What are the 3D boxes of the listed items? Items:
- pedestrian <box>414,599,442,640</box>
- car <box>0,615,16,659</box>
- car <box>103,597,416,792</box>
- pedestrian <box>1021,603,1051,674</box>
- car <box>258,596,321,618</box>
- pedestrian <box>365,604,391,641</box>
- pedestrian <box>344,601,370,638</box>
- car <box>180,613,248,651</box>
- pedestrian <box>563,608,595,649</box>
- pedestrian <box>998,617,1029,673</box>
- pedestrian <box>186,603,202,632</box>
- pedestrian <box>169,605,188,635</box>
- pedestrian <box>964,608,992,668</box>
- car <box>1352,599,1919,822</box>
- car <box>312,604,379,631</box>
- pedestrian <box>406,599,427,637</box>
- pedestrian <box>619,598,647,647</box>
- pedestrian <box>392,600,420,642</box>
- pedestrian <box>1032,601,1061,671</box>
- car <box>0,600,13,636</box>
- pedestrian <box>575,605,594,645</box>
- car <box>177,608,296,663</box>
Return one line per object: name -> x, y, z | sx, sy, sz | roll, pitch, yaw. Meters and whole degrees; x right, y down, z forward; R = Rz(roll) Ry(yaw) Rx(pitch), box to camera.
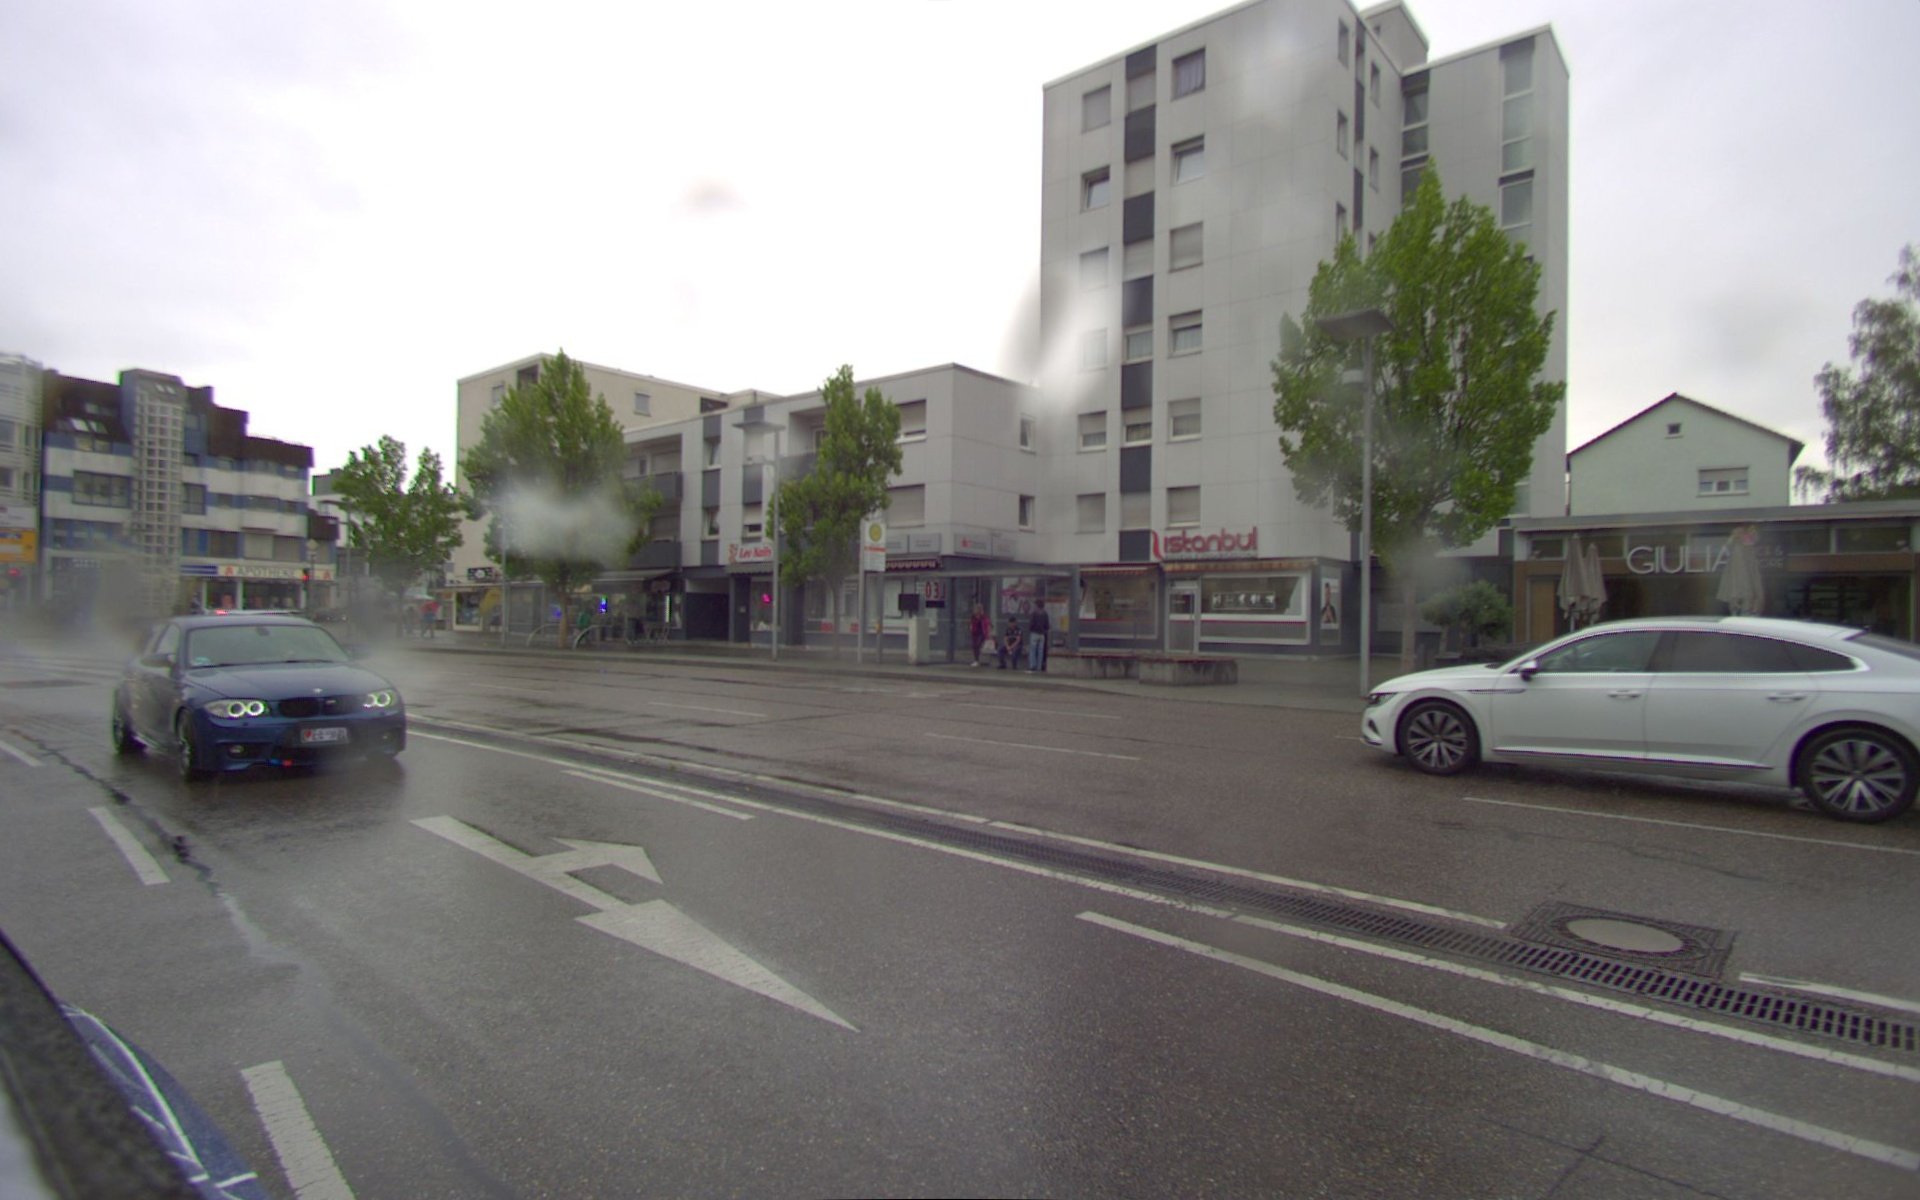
pedestrian -> -26.564, 0.985, 50.534 | 0.976, 2.029, 0.894 | -1, -2, 39
car -> -33.653, 1.248, 34.157 | 3.988, 1.462, 1.743 | -1, -2, 33
car -> -7.033, 0.809, 10.017 | 3.911, 1.555, 1.654 | -2, -2, 41
pedestrian -> 1.801, 0.905, 24.092 | 0.536, 1.672, 0.473 | -1, -1, 41
car -> -53.139, 0.564, 80.226 | 1.735, 1.733, 3.868 | 0, -1, 21
pedestrian -> -30.951, 1.203, 53.837 | 0.976, 1.929, 0.894 | -1, -2, 39
pedestrian -> -31.662, 1.031, 53.136 | 0.977, 1.929, 0.893 | -1, -2, 41
car -> -29.953, 1.235, 40.574 | 1.736, 1.438, 4.894 | 1, -1, -42
pedestrian -> -15.728, 1.162, 41.779 | 0.726, 1.658, 0.997 | -1, -1, 39
pedestrian -> 1.351, 1.119, 25.386 | 0.529, 1.363, 0.579 | 1, -2, -44
pedestrian -> -47.149, 1.049, 62.290 | 0.672, 1.756, 0.587 | 0, 0, -25
pedestrian -> -46.779, 1.189, 60.591 | 0.827, 1.756, 0.585 | 0, 0, -45
pedestrian -> 0.462, 0.968, 26.124 | 0.610, 1.516, 0.534 | 0, -1, 17
car -> 5.996, 0.750, 8.387 | 1.820, 1.472, 4.812 | 1, -1, -44
car -> -47.667, 1.384, 78.597 | 1.978, 2.029, 4.584 | 0, -1, 10
pedestrian -> -29.812, 0.999, 55.519 | 0.863, 2.029, 0.751 | -1, -2, 38
pedestrian -> -13.705, 0.948, 42.426 | 0.864, 2.029, 0.750 | -1, -2, 41
pedestrian -> -27.125, 1.028, 49.548 | 0.976, 2.029, 0.894 | -1, -2, 39
pedestrian -> 2.112, 0.869, 24.616 | 0.529, 1.672, 0.480 | 1, -2, -44
car -> -55.819, 0.984, 55.995 | 1.988, 2.029, 4.560 | 0, -1, 24
pedestrian -> -16.795, 1.111, 45.218 | 0.680, 1.763, 0.542 | -1, -2, 42
car -> -20.836, 1.000, 29.109 | 4.098, 1.477, 1.683 | 0, -2, 38
